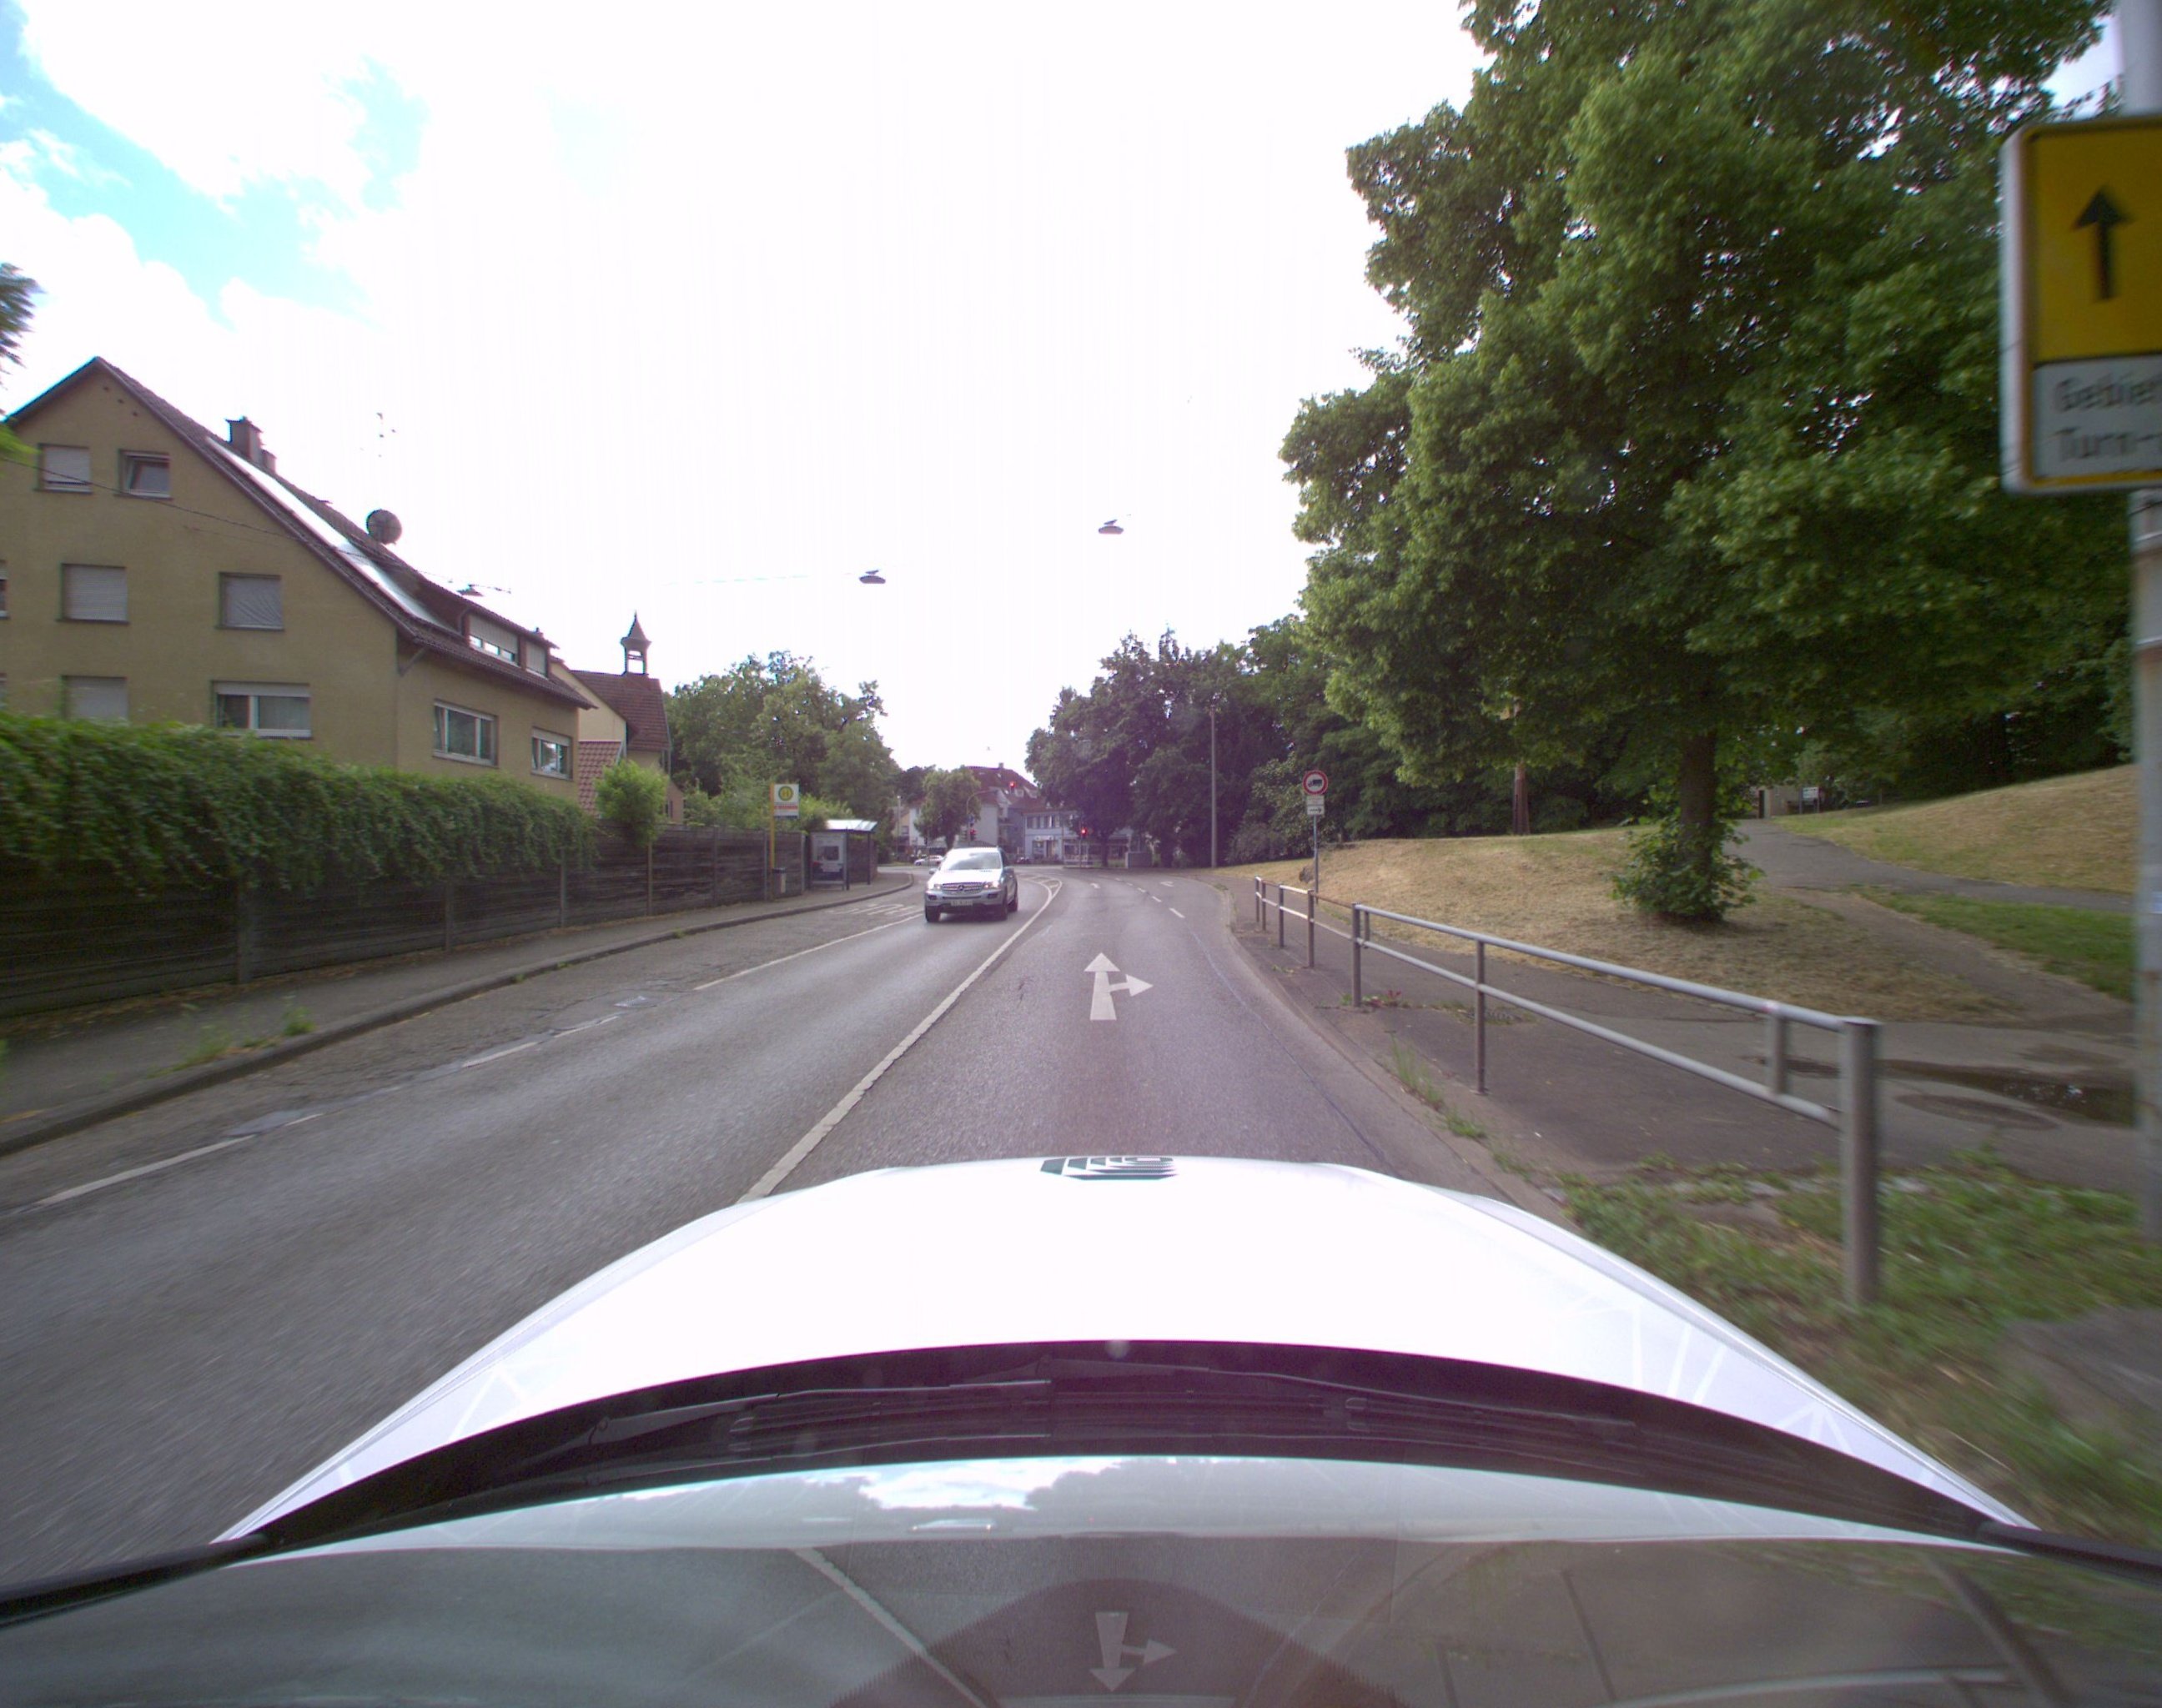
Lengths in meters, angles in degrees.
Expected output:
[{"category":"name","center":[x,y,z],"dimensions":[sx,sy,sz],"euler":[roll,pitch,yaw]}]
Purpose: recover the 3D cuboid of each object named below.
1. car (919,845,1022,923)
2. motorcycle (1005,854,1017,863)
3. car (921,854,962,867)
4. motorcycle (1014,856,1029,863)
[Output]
[{"category":"car","center":[-2.673,0.675,20.819],"dimensions":[1.929,1.724,4.692],"euler":[-1,0,0]},{"category":"motorcycle","center":[-9.329,0.573,108.704],"dimensions":[1.484,1.106,0.563],"euler":[-2,5,14]},{"category":"car","center":[-17.340,0.833,101.110],"dimensions":[4.542,1.517,2.009],"euler":[-1,0,16]},{"category":"motorcycle","center":[-7.904,0.677,107.443],"dimensions":[1.821,0.848,0.563],"euler":[-1,5,18]}]
